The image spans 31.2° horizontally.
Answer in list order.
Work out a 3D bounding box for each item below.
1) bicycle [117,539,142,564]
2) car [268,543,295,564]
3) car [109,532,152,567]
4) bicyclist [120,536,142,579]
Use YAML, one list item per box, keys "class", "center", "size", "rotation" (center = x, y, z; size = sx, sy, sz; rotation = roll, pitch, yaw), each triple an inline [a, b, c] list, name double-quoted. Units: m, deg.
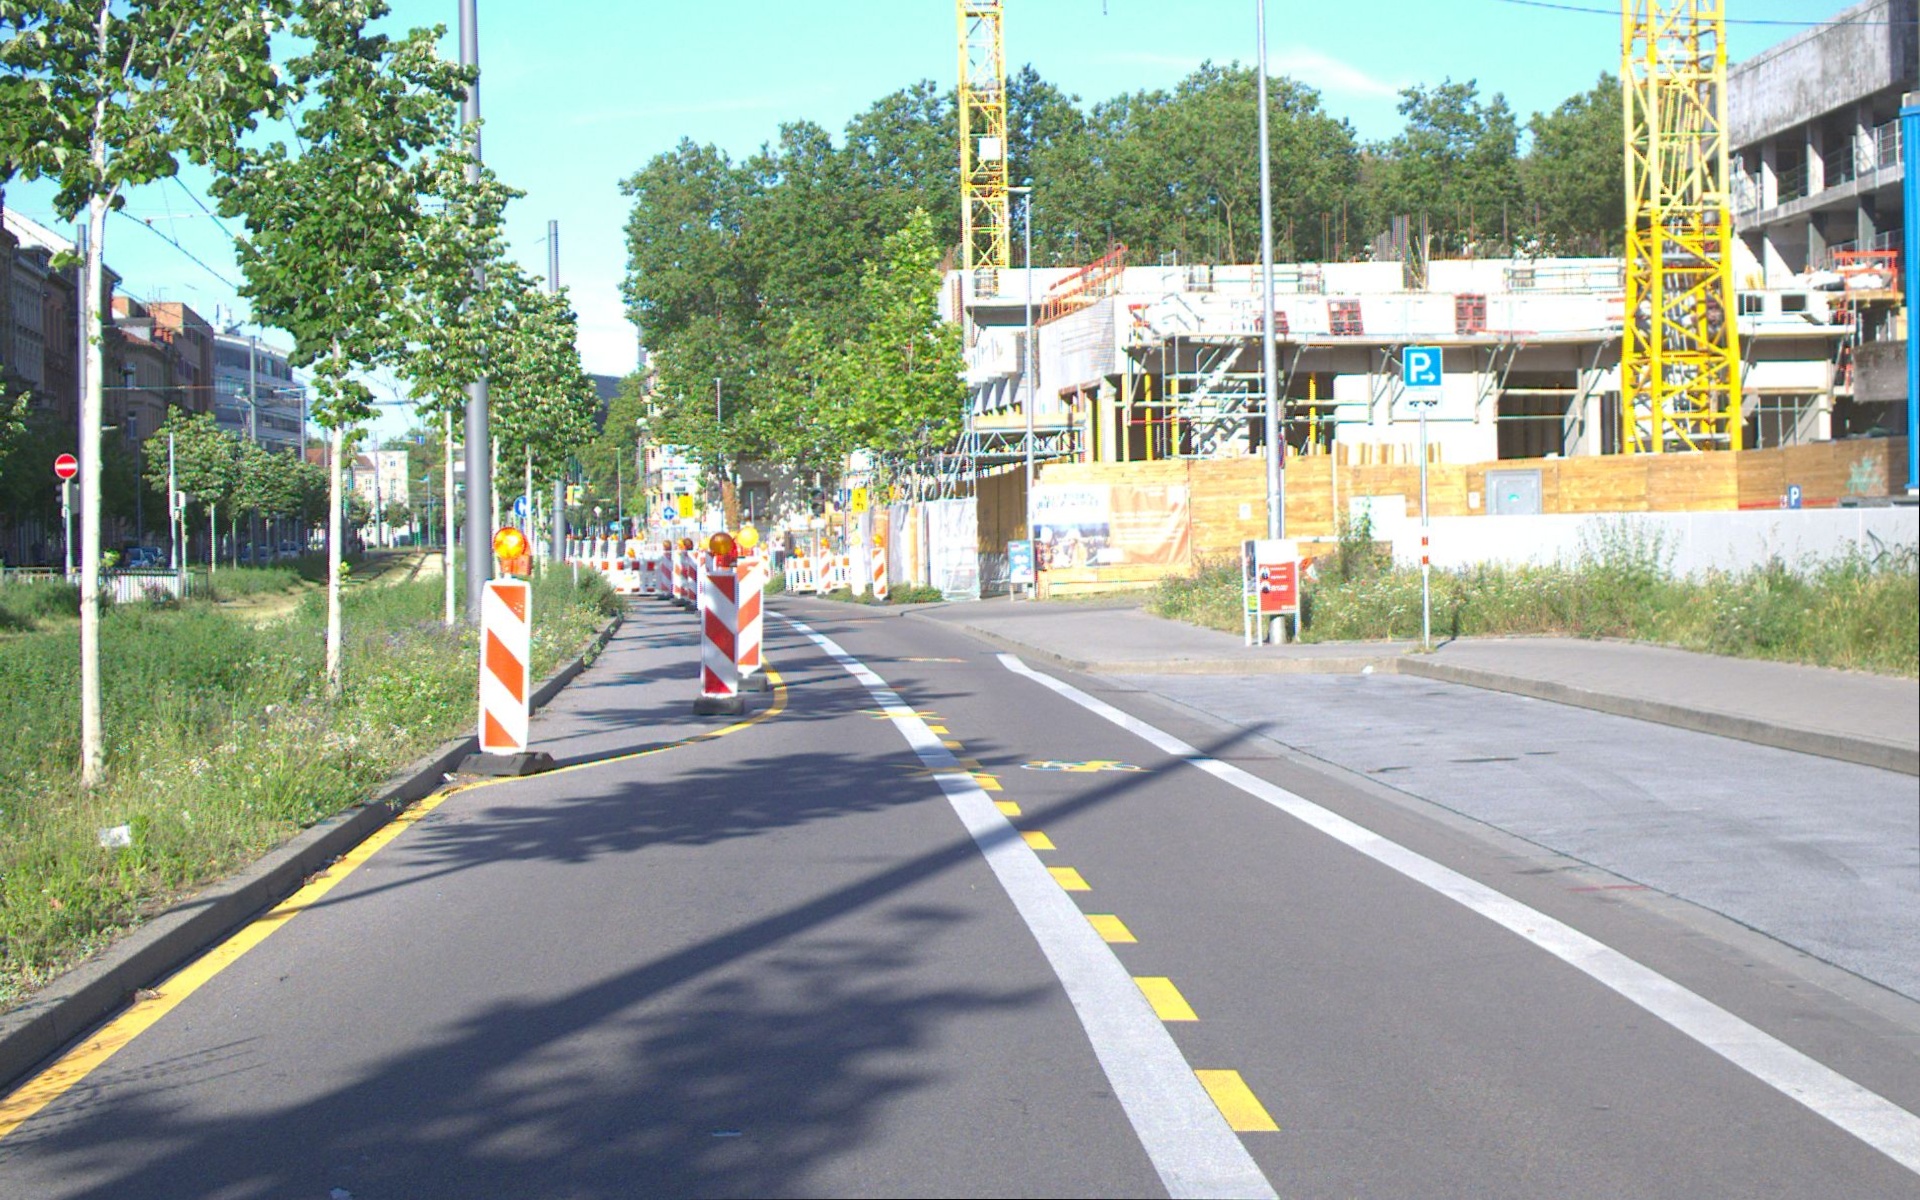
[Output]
- class: "bicycle"
  center: [-32.052, -1.864, 132.694]
  size: [0.695, 0.974, 1.827]
  rotation: [-1, 1, -7]
- class: "car"
  center: [-48.351, -3.291, 244.898]
  size: [1.594, 1.478, 3.624]
  rotation: [0, 1, -7]
- class: "car"
  center: [-38.585, -2.367, 159.996]
  size: [1.566, 1.557, 4.716]
  rotation: [-1, 1, -9]
- class: "bicyclist"
  center: [-32.103, -1.652, 133.159]
  size: [0.695, 1.652, 0.882]
  rotation: [-1, 1, -7]
